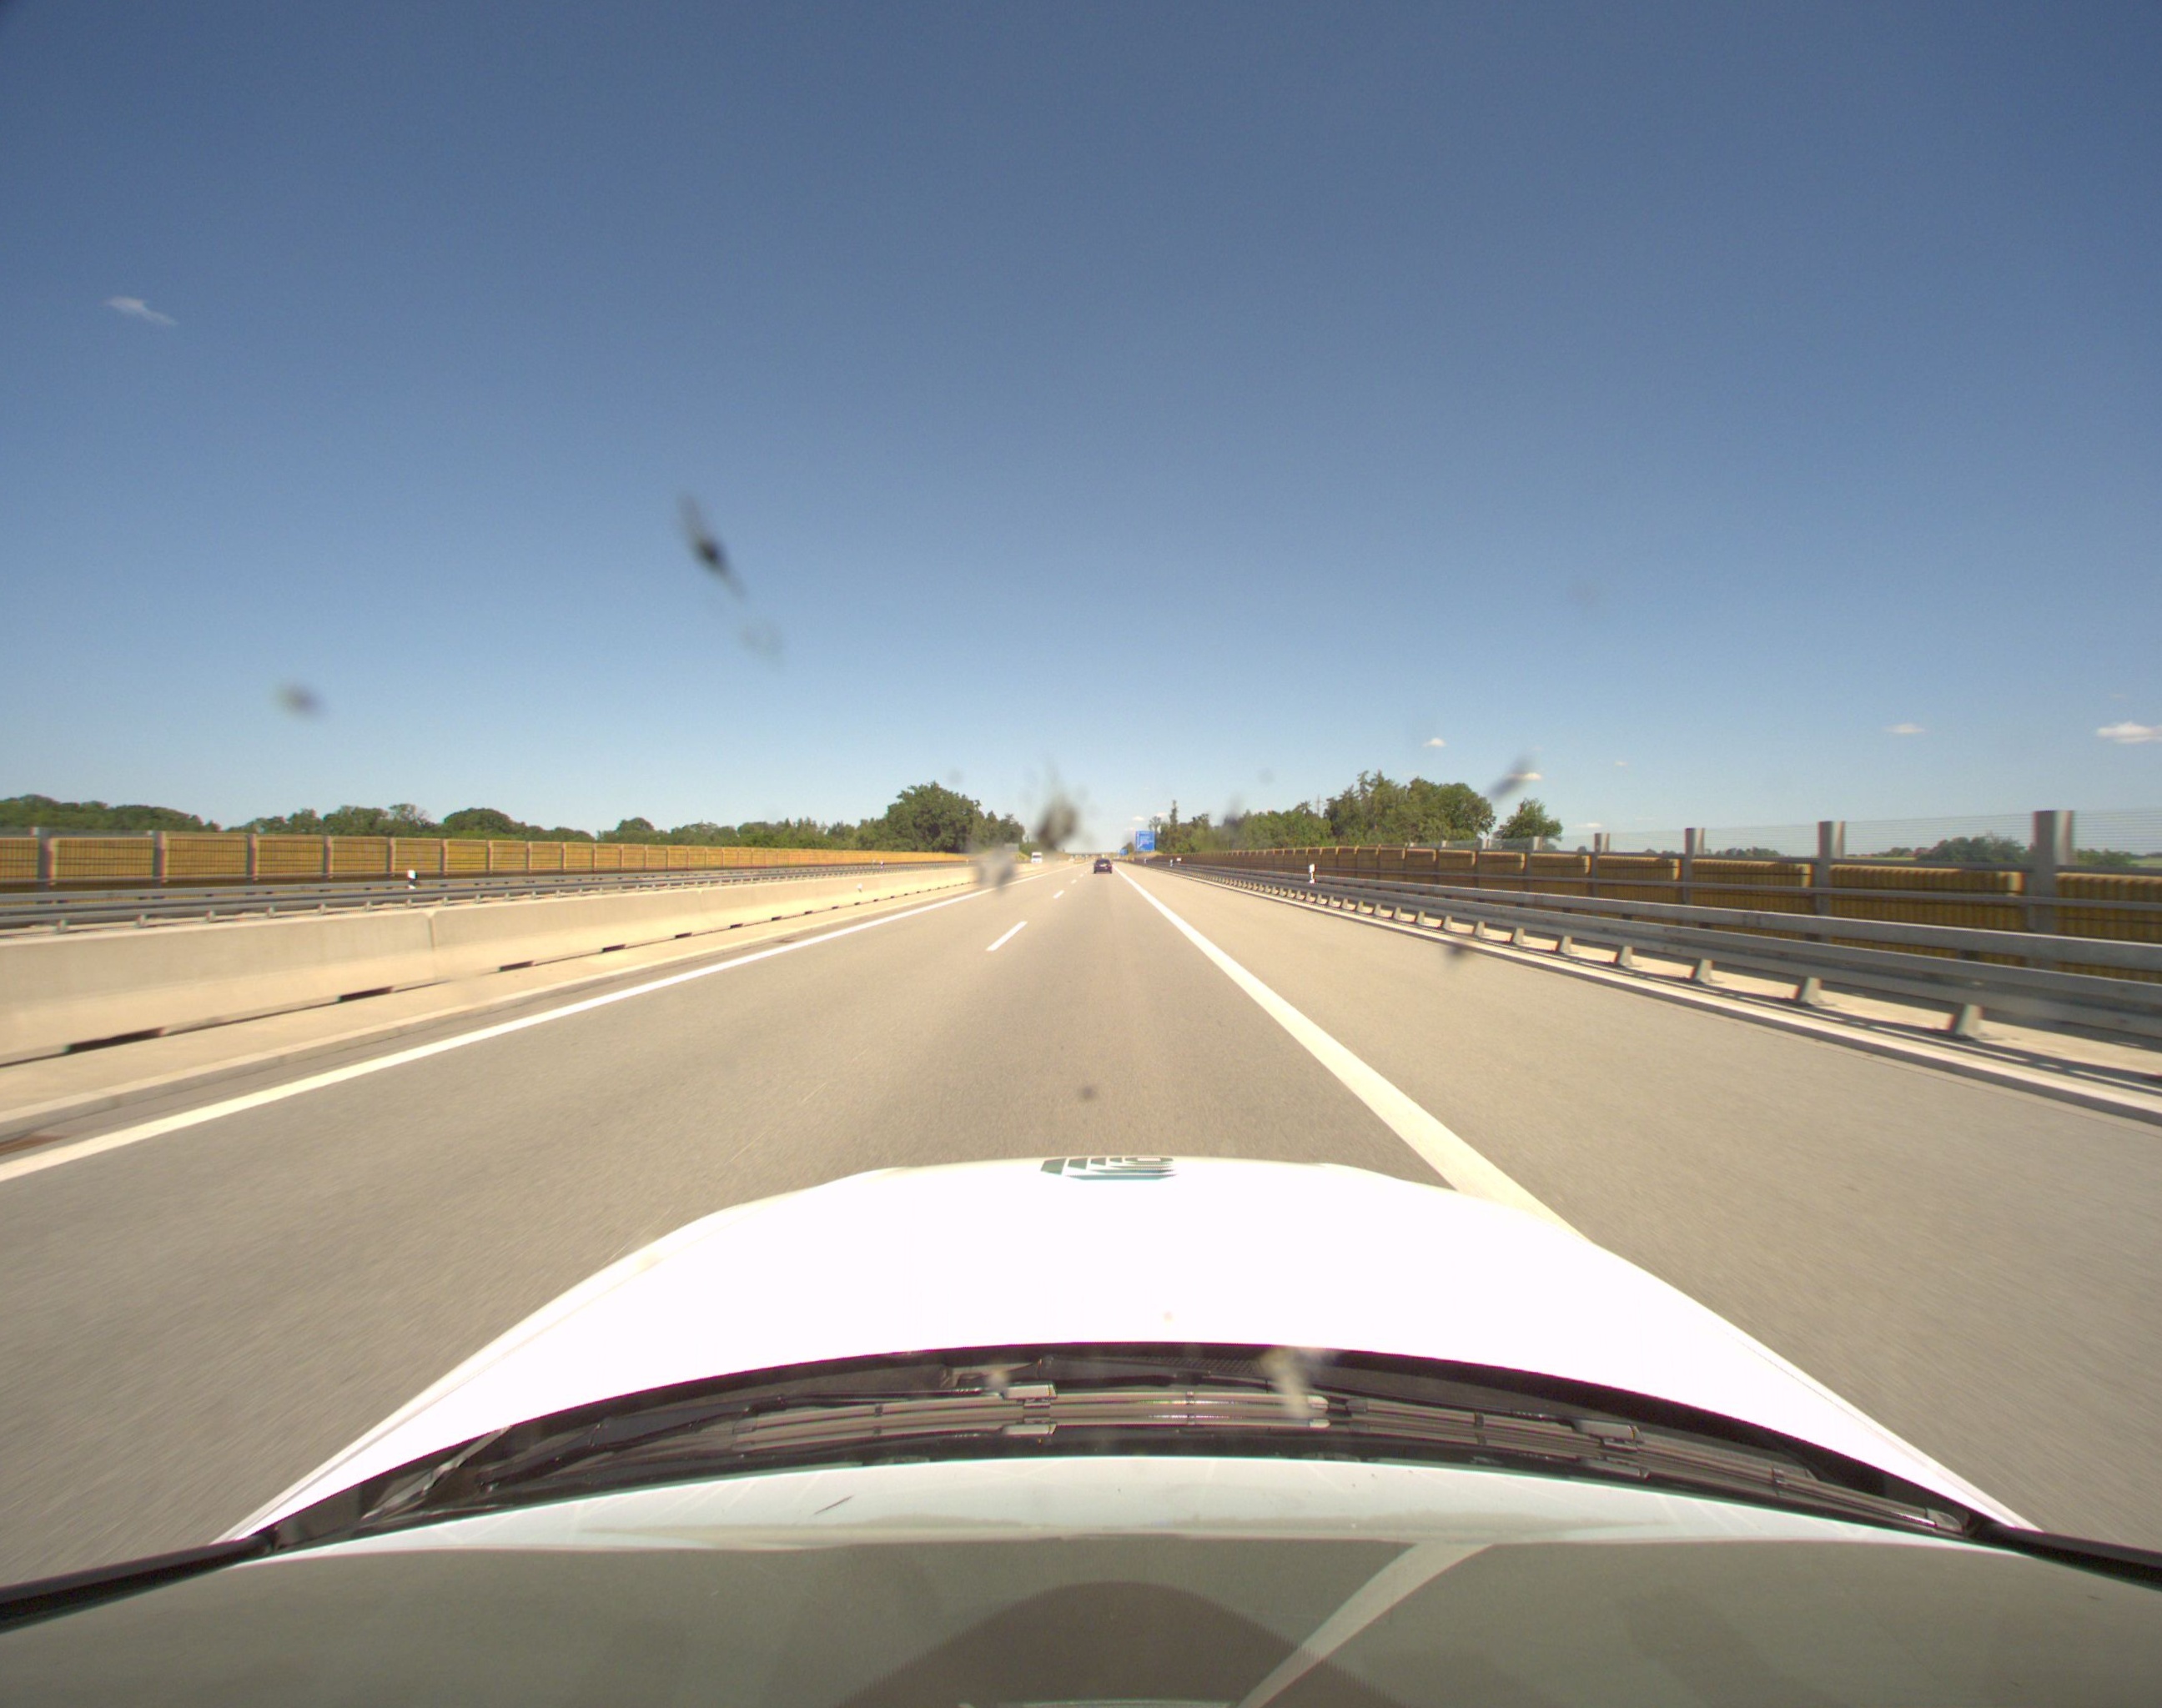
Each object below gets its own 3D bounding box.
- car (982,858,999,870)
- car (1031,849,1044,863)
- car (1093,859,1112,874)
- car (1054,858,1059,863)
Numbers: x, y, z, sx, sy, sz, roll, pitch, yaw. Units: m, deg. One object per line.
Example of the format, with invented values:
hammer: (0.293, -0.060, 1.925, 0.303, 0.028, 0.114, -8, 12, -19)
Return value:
car: (-12.032, 1.332, 108.156, 1.641, 1.508, 4.334, -1, 0, 2)
car: (-8.250, 0.440, 156.245, 2.016, 2.670, 6.487, -1, 0, 1)
car: (2.098, 1.220, 78.505, 1.783, 1.374, 3.918, -1, 0, 2)
car: (-7.717, 2.054, 257.026, 1.574, 1.458, 4.451, -1, 0, 1)
